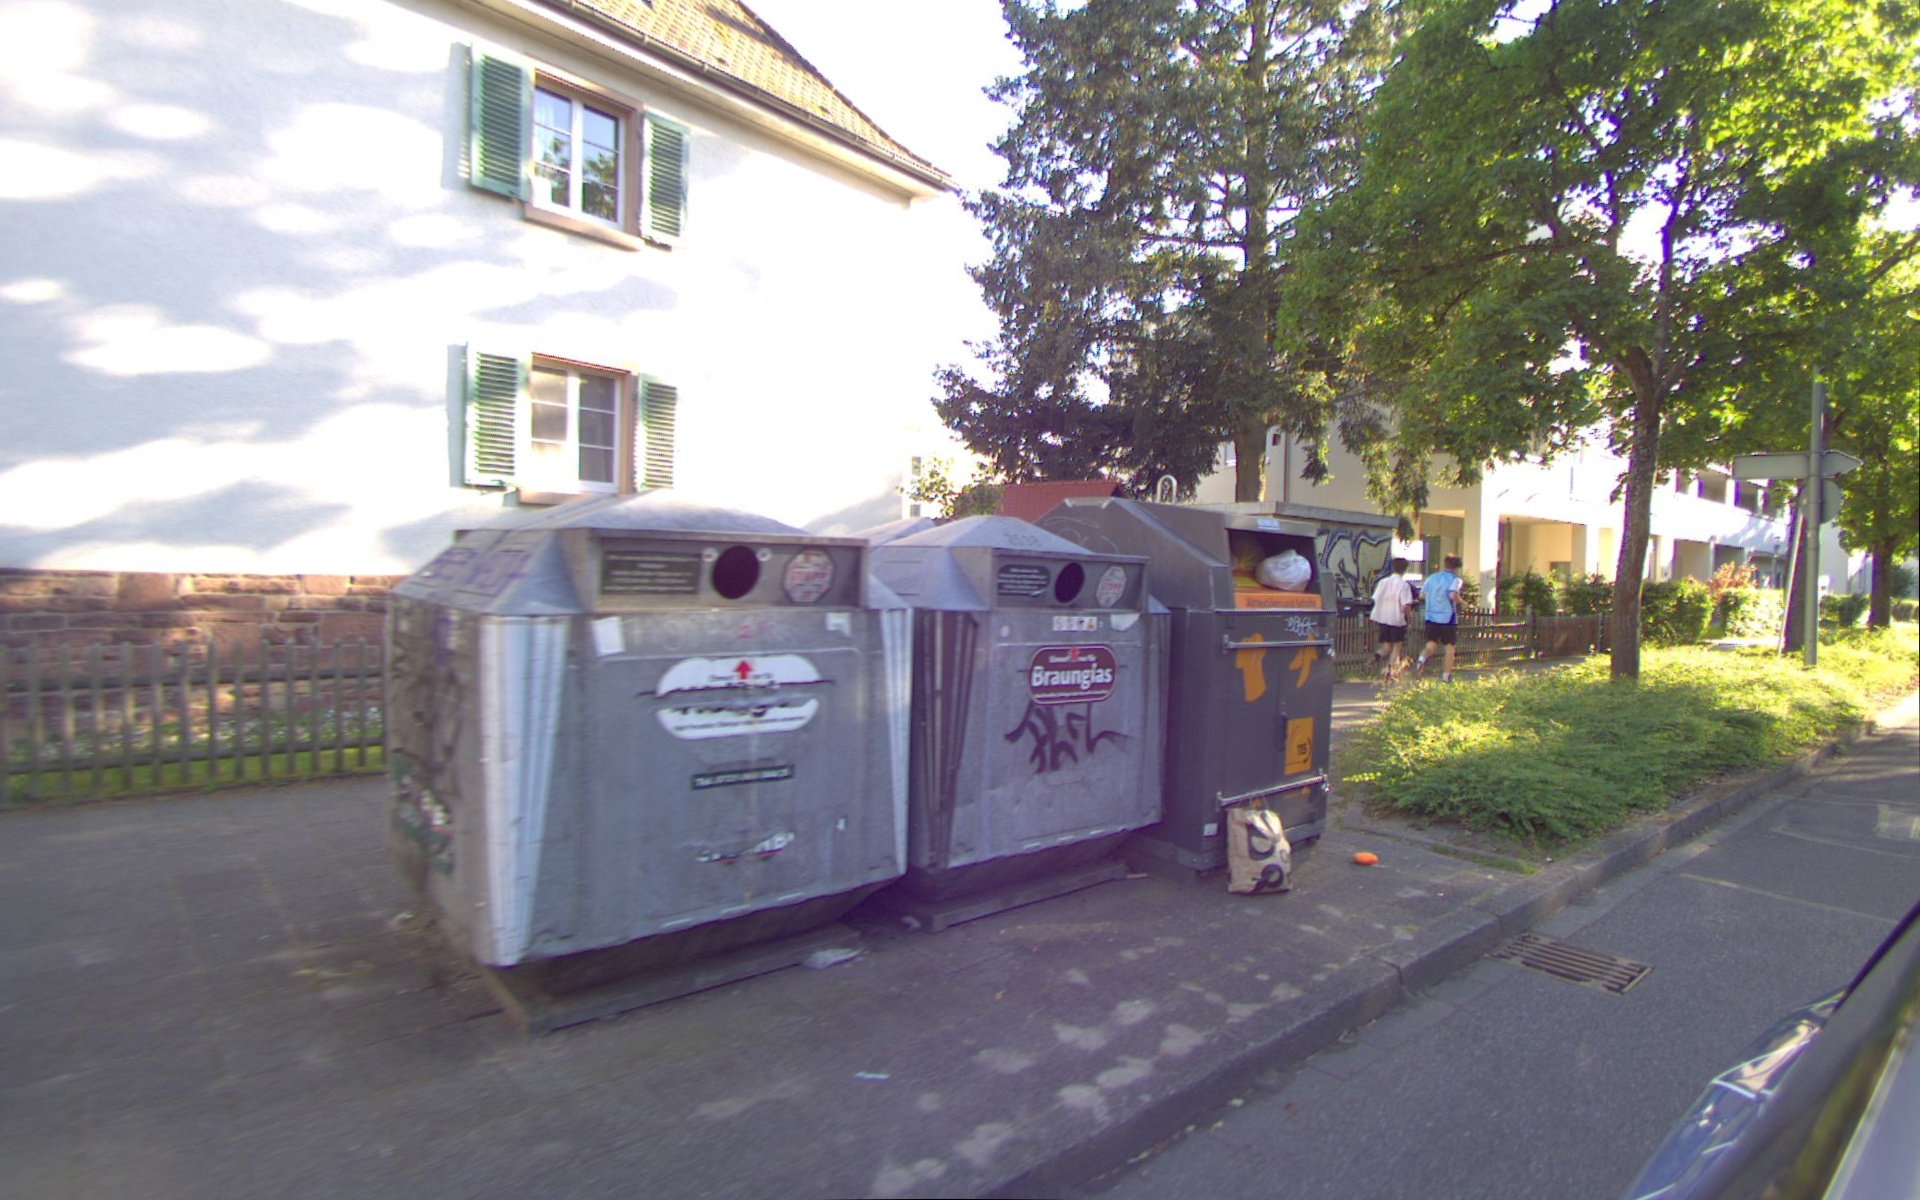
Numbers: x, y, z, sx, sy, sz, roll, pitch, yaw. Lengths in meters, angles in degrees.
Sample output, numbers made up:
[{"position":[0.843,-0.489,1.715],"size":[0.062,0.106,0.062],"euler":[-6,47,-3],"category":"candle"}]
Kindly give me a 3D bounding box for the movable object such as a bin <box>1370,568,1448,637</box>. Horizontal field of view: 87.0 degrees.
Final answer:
[{"position":[10.054,0.041,22.669],"size":[1.364,1.447,1.081],"euler":[0,4,-42],"category":"movable object such as a bin"}]

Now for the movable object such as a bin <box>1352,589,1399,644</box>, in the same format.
[{"position":[8.205,0.316,19.992],"size":[0.630,1.042,0.607],"euler":[0,4,-42],"category":"movable object such as a bin"}]

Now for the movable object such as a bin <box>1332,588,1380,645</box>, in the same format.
[{"position":[7.608,0.301,19.447],"size":[0.584,1.042,0.615],"euler":[0,4,-42],"category":"movable object such as a bin"}]

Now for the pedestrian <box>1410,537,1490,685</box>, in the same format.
[{"position":[6.636,0.130,13.709],"size":[0.880,1.917,0.674],"euler":[0,1,-41],"category":"pedestrian"}]

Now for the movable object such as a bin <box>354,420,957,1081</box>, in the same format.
[{"position":[-1.136,0.359,3.705],"size":[1.612,1.678,1.589],"euler":[0,1,-41],"category":"movable object such as a bin"}]

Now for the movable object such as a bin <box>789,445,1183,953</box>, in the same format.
[{"position":[0.119,0.344,4.575],"size":[1.362,1.850,1.149],"euler":[0,1,-41],"category":"movable object such as a bin"}]

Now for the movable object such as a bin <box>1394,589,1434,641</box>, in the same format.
[{"position":[9.671,0.313,21.569],"size":[0.604,1.042,0.539],"euler":[0,4,-42],"category":"movable object such as a bin"}]

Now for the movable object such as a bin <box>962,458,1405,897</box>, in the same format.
[{"position":[1.157,0.306,5.513],"size":[1.369,1.876,1.924],"euler":[0,1,-41],"category":"movable object such as a bin"}]

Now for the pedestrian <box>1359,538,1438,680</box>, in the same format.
[{"position":[6.183,0.113,14.255],"size":[1.001,1.917,0.643],"euler":[0,1,-41],"category":"pedestrian"}]

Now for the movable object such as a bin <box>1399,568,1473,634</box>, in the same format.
[{"position":[11.116,0.002,23.642],"size":[1.343,1.444,1.081],"euler":[0,4,-42],"category":"movable object such as a bin"}]

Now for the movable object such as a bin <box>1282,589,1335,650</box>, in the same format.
[{"position":[6.291,0.336,18.276],"size":[0.634,1.042,0.644],"euler":[0,4,-42],"category":"movable object such as a bin"}]
